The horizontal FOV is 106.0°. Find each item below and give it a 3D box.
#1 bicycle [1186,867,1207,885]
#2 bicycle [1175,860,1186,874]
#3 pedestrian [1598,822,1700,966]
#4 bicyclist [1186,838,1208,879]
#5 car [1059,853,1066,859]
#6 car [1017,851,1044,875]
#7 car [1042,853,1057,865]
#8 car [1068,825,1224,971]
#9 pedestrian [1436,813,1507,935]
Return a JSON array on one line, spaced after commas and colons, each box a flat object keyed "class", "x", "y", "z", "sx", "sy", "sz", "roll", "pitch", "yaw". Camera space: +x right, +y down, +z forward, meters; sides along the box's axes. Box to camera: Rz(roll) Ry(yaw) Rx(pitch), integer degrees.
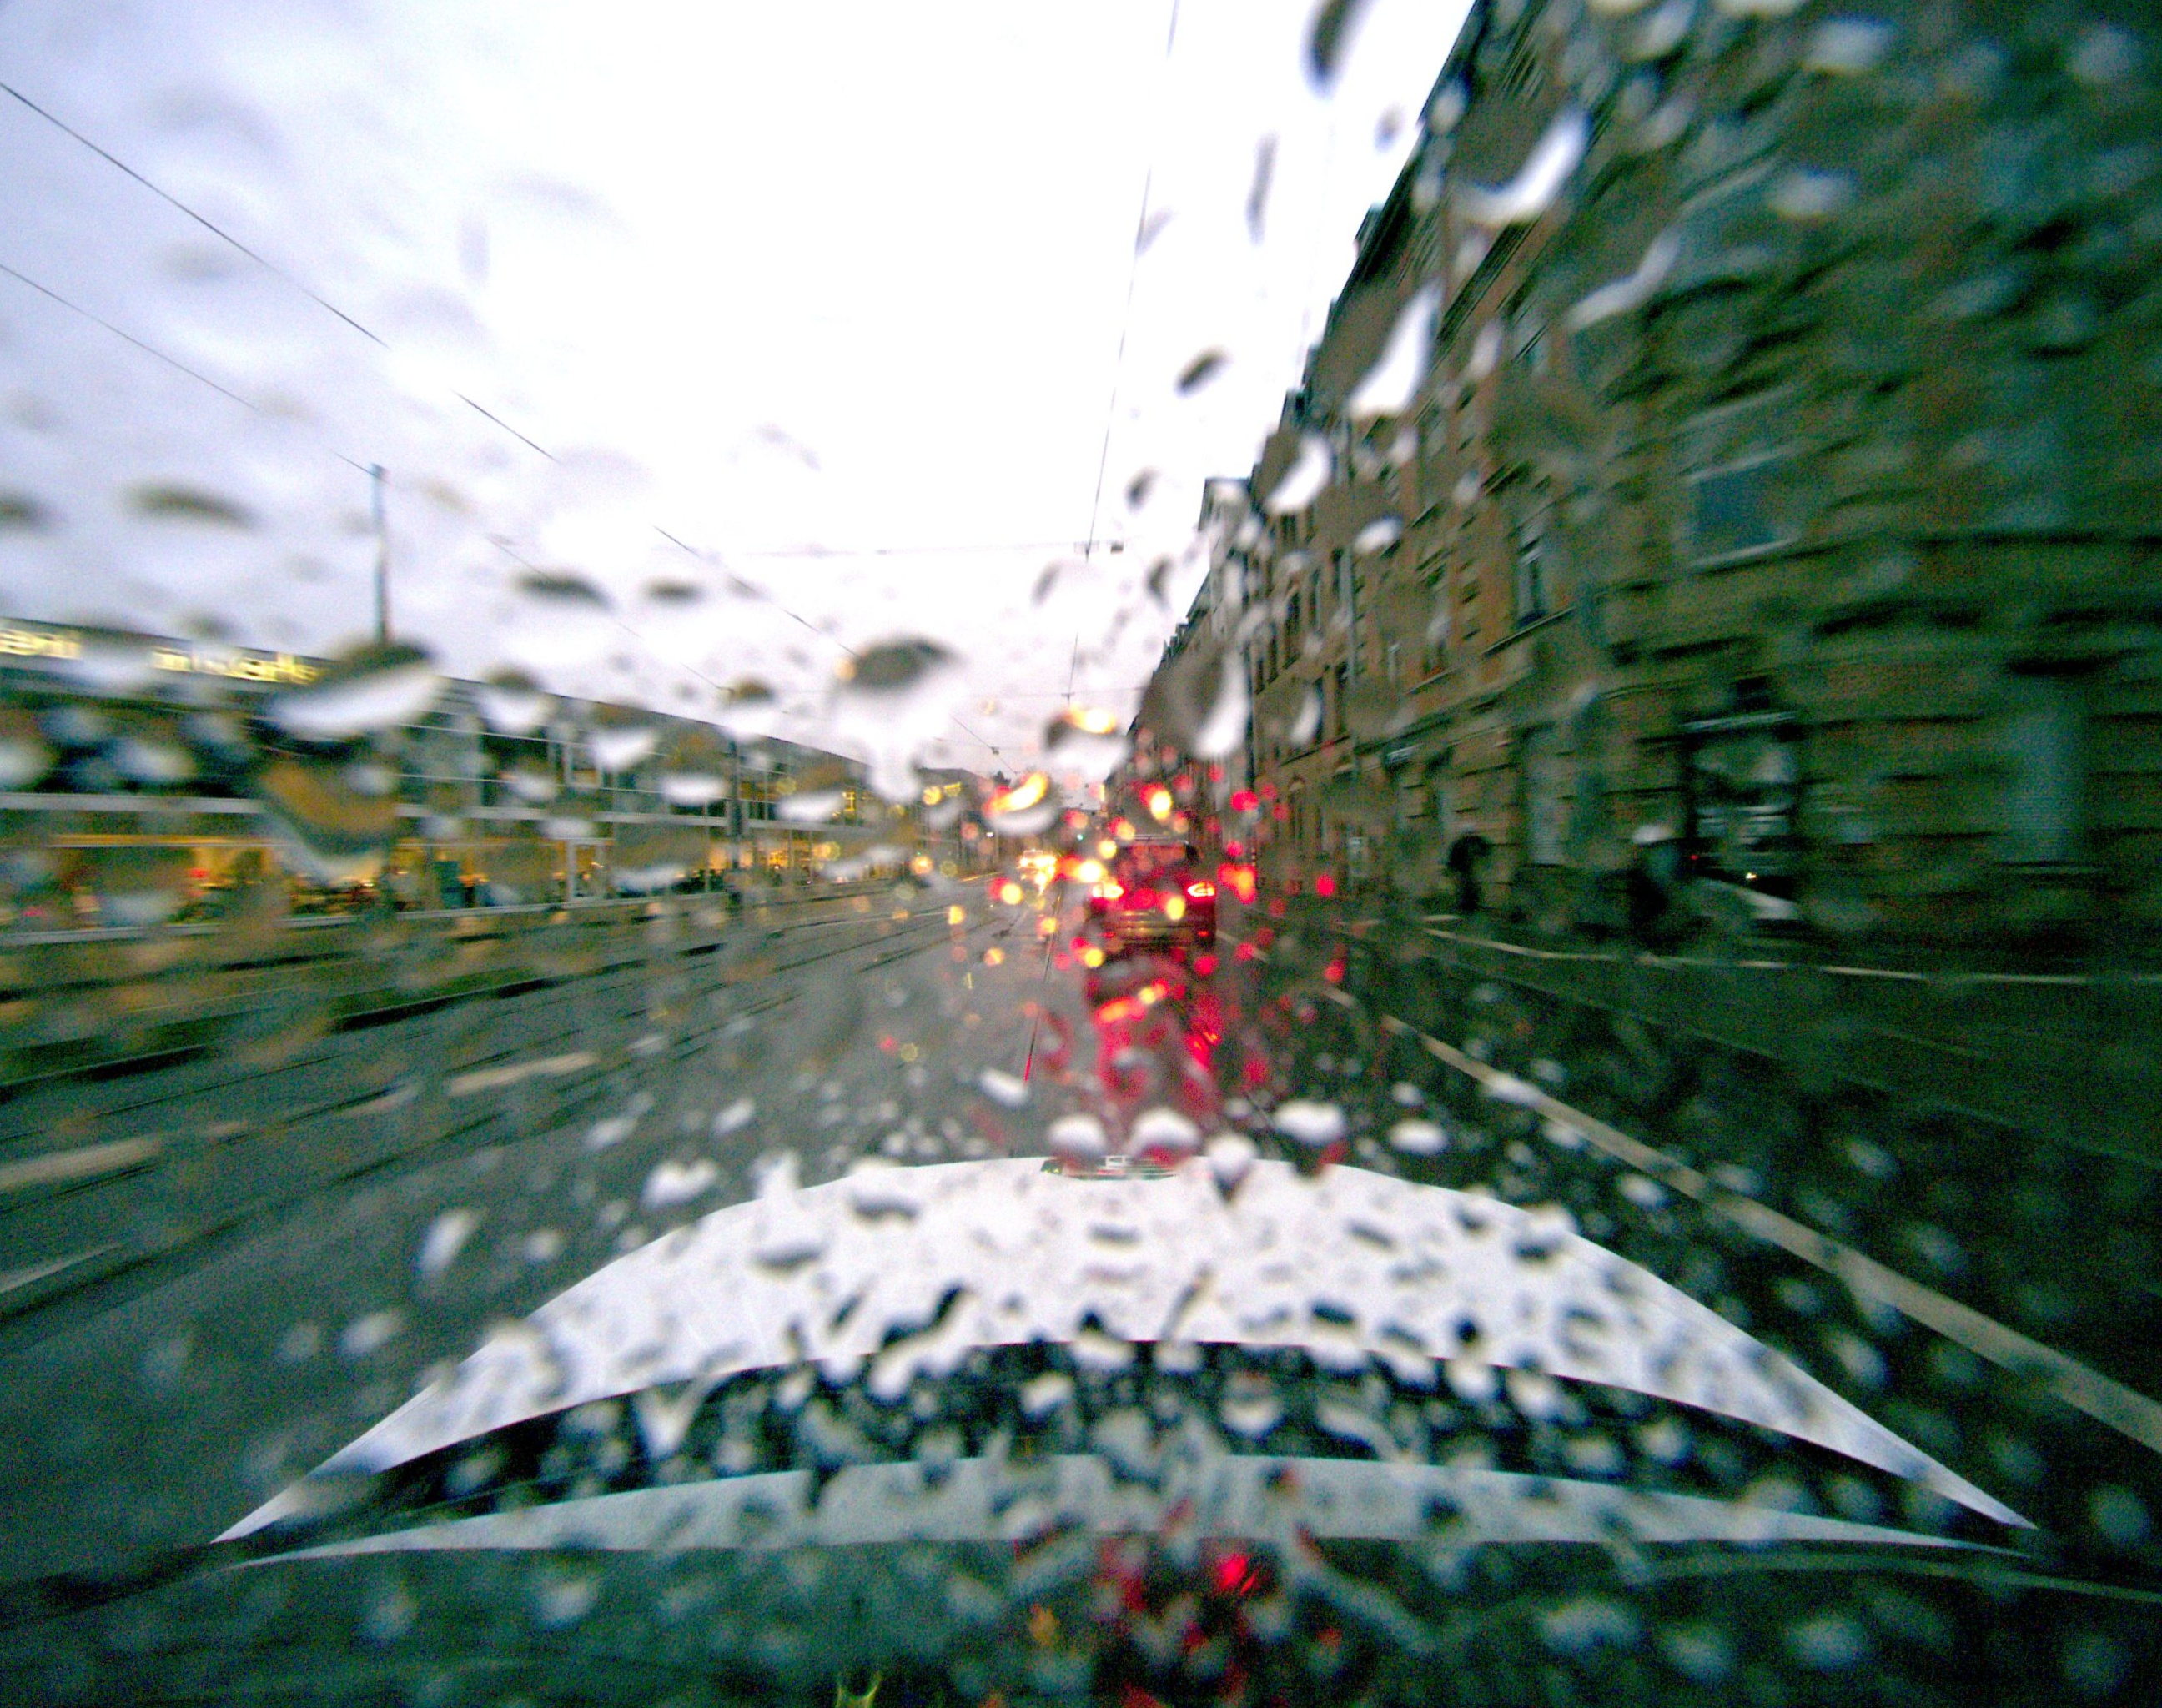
[{"class": "bicycle", "x": 5.376, "y": 1.011, "z": 37.889, "sx": 0.606, "sy": 0.761, "sz": 1.859, "roll": -2, "pitch": 0, "yaw": -2}, {"class": "bicycle", "x": 6.611, "y": 0.841, "z": 54.146, "sx": 0.396, "sy": 0.911, "sz": 1.866, "roll": -2, "pitch": 0, "yaw": -1}, {"class": "pedestrian", "x": 6.402, "y": 0.435, "z": 9.212, "sx": 0.629, "sy": 1.548, "sz": 0.711, "roll": -1, "pitch": 0, "yaw": 2}, {"class": "bicyclist", "x": 5.397, "y": 0.214, "z": 37.934, "sx": 0.743, "sy": 1.880, "sz": 1.110, "roll": -2, "pitch": -1, "yaw": -3}, {"class": "car", "x": -5.414, "y": 0.556, "z": 239.281, "sx": 1.870, "sy": 1.709, "sz": 4.757, "roll": -2, "pitch": 0, "yaw": -2}, {"class": "car", "x": -4.434, "y": 0.772, "z": 72.271, "sx": 1.987, "sy": 2.014, "sz": 4.685, "roll": -1, "pitch": -1, "yaw": 1}, {"class": "car", "x": -4.673, "y": 0.729, "z": 120.946, "sx": 1.835, "sy": 1.578, "sz": 4.442, "roll": -2, "pitch": 0, "yaw": 1}, {"class": "car", "x": 0.909, "y": 0.574, "z": 12.520, "sx": 1.986, "sy": 1.842, "sz": 4.002, "roll": -1, "pitch": 0, "yaw": 2}, {"class": "pedestrian", "x": 6.064, "y": 0.306, "z": 12.678, "sx": 0.748, "sy": 1.825, "sz": 0.711, "roll": -1, "pitch": 0, "yaw": 2}]
